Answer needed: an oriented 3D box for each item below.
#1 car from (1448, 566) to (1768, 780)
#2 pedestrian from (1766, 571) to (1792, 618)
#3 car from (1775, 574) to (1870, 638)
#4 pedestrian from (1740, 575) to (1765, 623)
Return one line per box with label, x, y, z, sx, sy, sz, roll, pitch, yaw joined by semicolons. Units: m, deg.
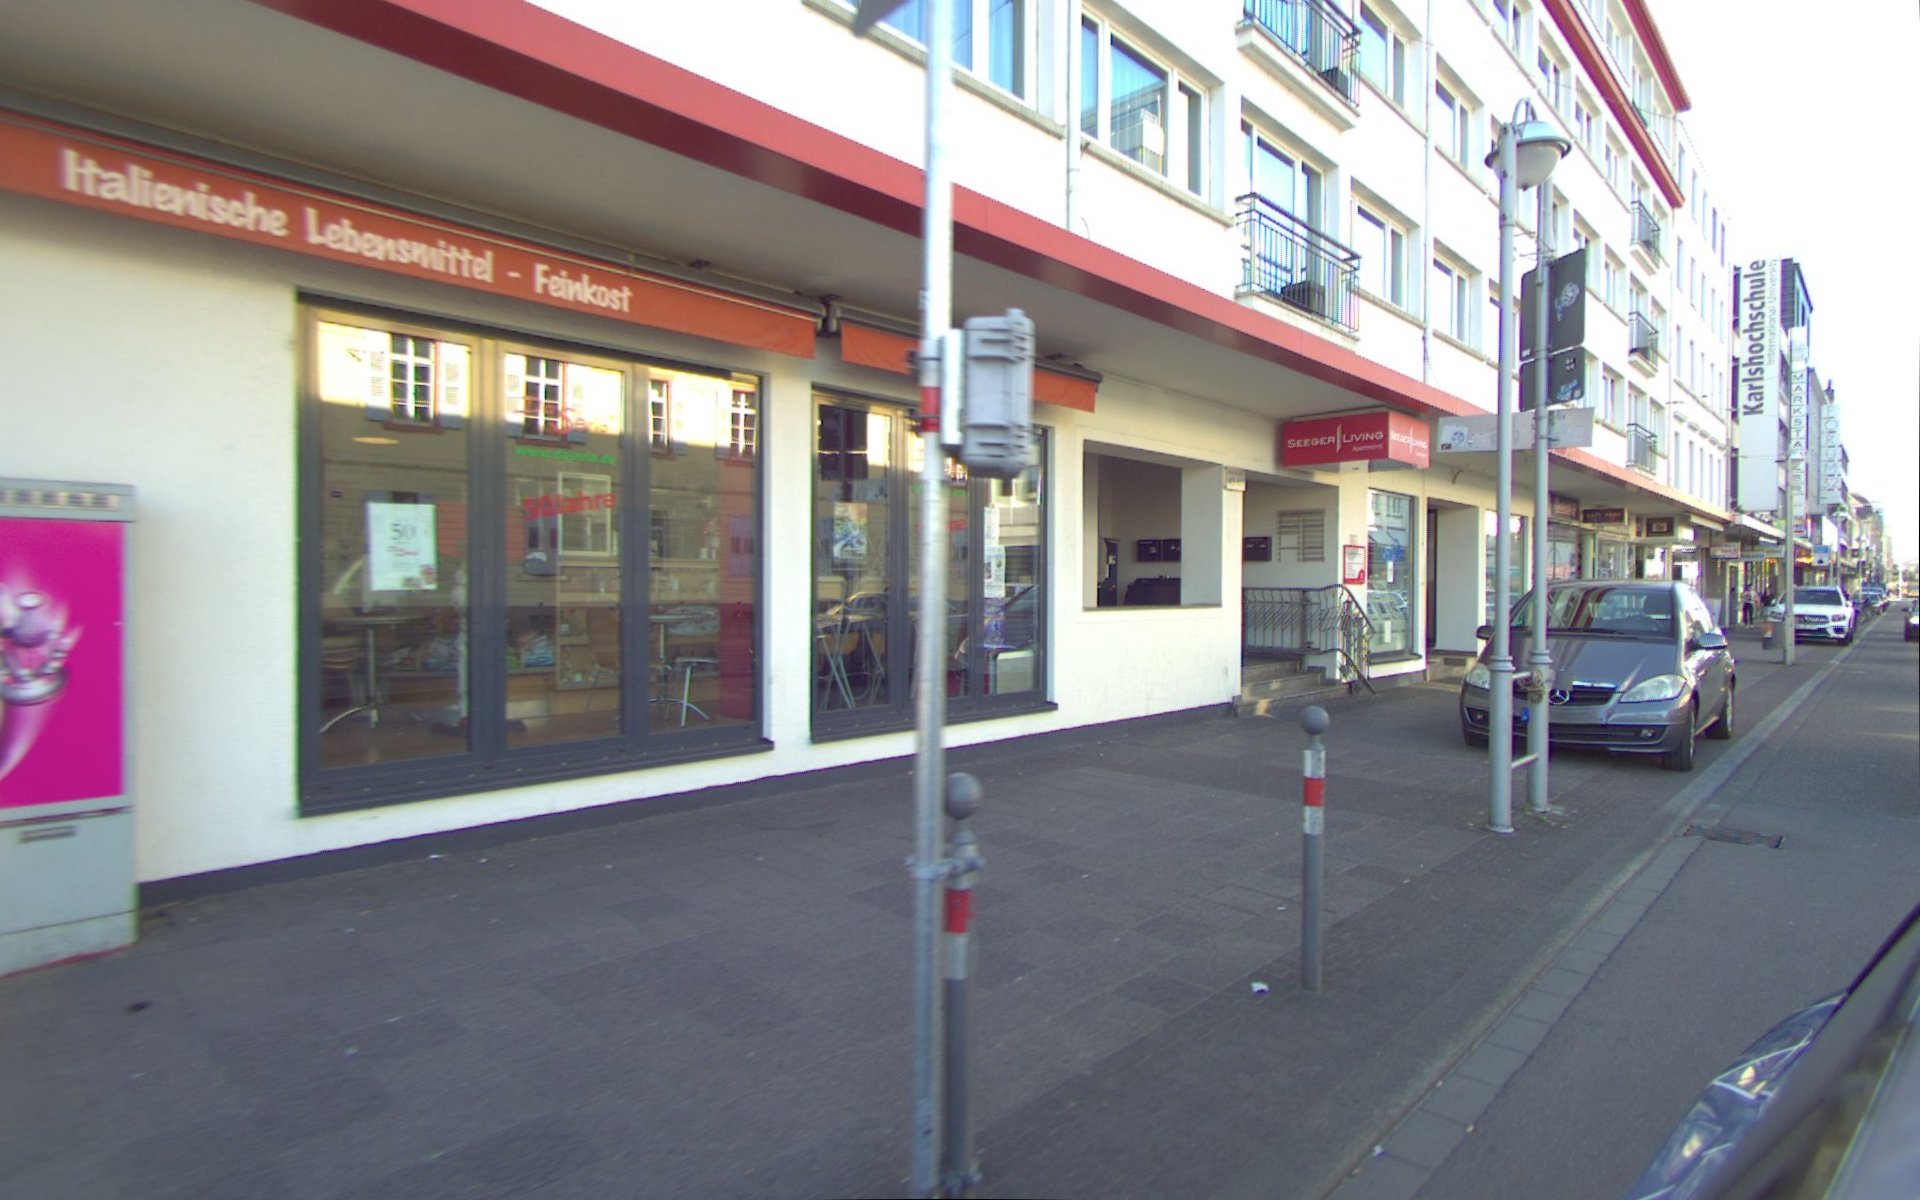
car;6.285;0.489;9.634;1.778;1.588;3.898;3;3;45
pedestrian;32.737;-0.225;40.450;0.736;1.840;0.737;0;1;43
car;25.077;0.118;29.383;1.779;1.683;4.096;2;3;45
pedestrian;30.518;-0.054;38.958;0.703;1.840;0.795;0;1;43
